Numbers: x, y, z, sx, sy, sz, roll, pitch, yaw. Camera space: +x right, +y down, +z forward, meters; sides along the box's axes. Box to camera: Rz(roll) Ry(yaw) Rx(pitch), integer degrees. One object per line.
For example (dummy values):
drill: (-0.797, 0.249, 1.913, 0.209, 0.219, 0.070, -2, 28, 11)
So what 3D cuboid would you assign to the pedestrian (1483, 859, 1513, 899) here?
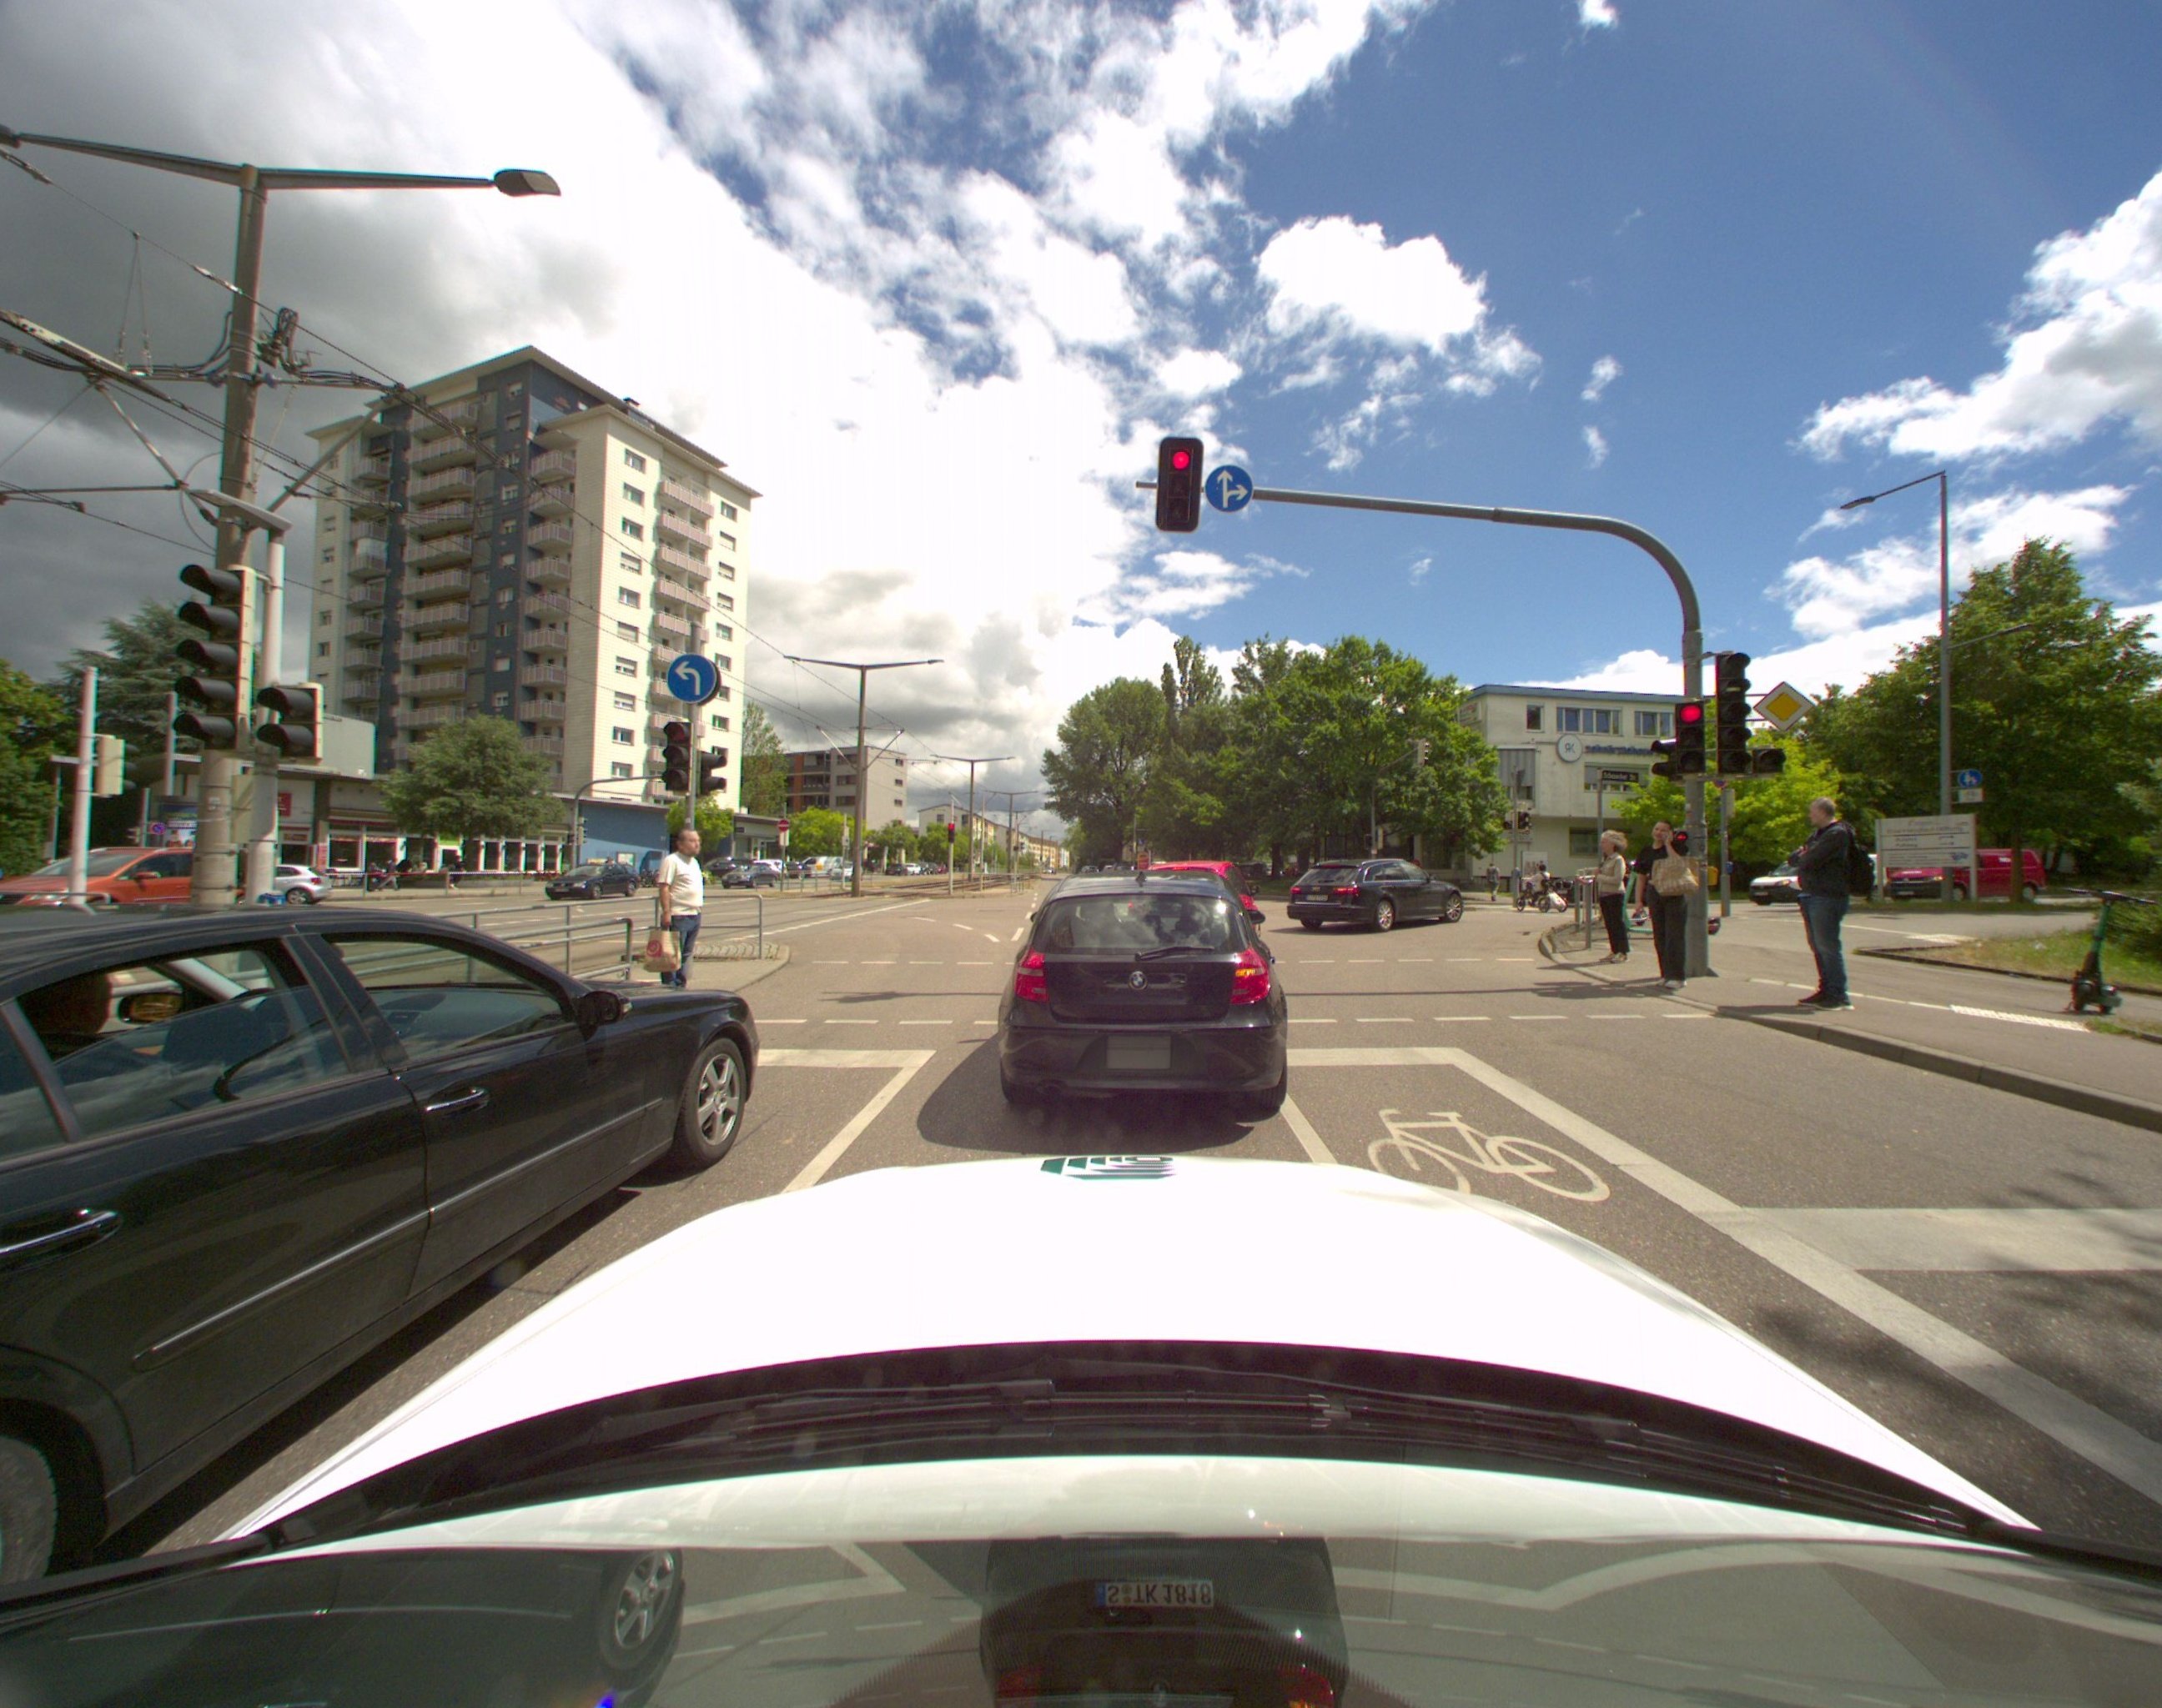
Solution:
pedestrian: (17.726, 1.058, 34.649, 0.901, 1.643, 0.771, 0, 0, 0)

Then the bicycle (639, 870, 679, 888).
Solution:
bicycle: (-23.211, 1.382, 44.800, 1.943, 0.935, 0.494, 0, -1, -5)

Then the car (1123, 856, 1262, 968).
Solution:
car: (1.799, 0.758, 12.338, 1.529, 1.441, 3.211, 0, 0, 18)

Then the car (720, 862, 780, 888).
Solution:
car: (-18.910, 1.200, 46.789, 1.630, 1.399, 4.492, 0, -1, -1)

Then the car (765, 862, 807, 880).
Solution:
car: (-24.497, 1.358, 67.634, 1.800, 1.420, 4.166, 0, 0, -43)

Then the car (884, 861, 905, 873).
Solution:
car: (-21.553, 1.486, 94.181, 1.758, 1.395, 3.993, 0, 0, -5)

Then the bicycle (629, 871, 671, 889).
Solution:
bicycle: (-23.149, 1.373, 43.771, 1.943, 0.935, 0.494, 0, -1, -5)

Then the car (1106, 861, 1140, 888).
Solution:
car: (2.778, 1.349, 54.293, 2.144, 1.684, 4.001, 0, -1, 2)

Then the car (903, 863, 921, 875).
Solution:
car: (-21.082, 1.845, 101.702, 1.758, 1.395, 3.993, 0, 0, -5)

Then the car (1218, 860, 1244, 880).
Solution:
car: (14.069, 1.504, 76.610, 1.626, 1.811, 4.030, 0, 0, -1)

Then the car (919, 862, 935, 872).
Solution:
car: (-21.294, 1.752, 112.861, 1.758, 1.395, 3.993, 0, 0, -5)

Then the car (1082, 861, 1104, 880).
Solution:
car: (1.193, 1.559, 77.233, 1.986, 1.684, 4.002, 0, 0, 2)

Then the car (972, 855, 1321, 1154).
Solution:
car: (0.395, 0.753, 6.078, 1.746, 1.487, 4.002, 0, 0, 2)

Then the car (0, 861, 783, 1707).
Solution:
car: (-2.689, 0.766, 2.503, 1.721, 1.461, 4.546, 0, 0, 2)

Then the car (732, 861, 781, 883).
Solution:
car: (-24.443, 1.354, 61.233, 4.165, 1.570, 1.973, 0, 0, 45)

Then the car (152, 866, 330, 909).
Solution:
car: (-28.625, 1.108, 27.955, 4.018, 1.398, 1.679, 1, -2, -37)

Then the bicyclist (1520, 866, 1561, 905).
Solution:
bicyclist: (12.498, 0.844, 22.168, 0.789, 1.022, 0.636, 0, -1, 1)

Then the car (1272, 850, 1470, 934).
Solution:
car: (6.295, 0.725, 17.440, 4.544, 1.554, 1.976, 0, -1, -40)

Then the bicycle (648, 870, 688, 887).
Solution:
bicycle: (-23.218, 1.391, 45.823, 1.943, 0.935, 0.494, 0, -1, -5)

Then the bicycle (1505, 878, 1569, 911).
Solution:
bicycle: (12.503, 1.096, 22.400, 0.788, 0.819, 1.808, 0, 0, 1)

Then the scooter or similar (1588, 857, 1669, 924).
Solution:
scooter or similar: (9.887, 0.659, 14.697, 1.360, 1.156, 0.540, 1, 0, -23)

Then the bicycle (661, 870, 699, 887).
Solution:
bicycle: (-23.103, 1.400, 46.925, 1.943, 0.935, 0.494, 0, -1, -5)

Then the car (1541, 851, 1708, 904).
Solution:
car: (18.623, 0.774, 28.037, 4.551, 1.717, 1.996, 0, 0, -5)

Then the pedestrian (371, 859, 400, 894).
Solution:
pedestrian: (-32.699, 1.046, 38.304, 0.766, 1.615, 0.697, 0, -1, -6)

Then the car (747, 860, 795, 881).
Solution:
car: (-24.591, 1.282, 64.523, 4.165, 1.538, 1.973, 0, 0, 45)

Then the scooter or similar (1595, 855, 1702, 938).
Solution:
scooter or similar: (8.978, 0.656, 12.912, 1.336, 1.277, 0.463, 0, 1, 8)

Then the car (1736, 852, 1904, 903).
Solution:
car: (26.289, 0.806, 29.043, 4.555, 1.717, 1.995, 0, 0, -8)

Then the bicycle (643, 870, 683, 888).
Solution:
bicycle: (-23.233, 1.386, 45.276, 1.943, 0.935, 0.494, 0, -1, -5)

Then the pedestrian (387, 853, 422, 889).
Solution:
pedestrian: (-36.781, 0.911, 44.318, 0.861, 1.917, 1.215, 0, 0, 2)

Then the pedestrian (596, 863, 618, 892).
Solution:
pedestrian: (-28.002, 1.366, 48.140, 0.948, 1.659, 1.091, 0, -1, -22)

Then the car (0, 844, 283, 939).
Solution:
car: (-19.263, 0.685, 16.427, 1.989, 1.635, 4.456, -2, 0, -3)

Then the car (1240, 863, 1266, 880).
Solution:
car: (16.303, 1.633, 77.329, 1.626, 1.573, 4.030, 0, 0, -1)

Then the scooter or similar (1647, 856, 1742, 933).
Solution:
scooter or similar: (10.367, 0.678, 13.783, 1.225, 1.240, 0.555, 2, 0, -7)

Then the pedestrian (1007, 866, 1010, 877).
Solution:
pedestrian: (-11.596, 2.824, 130.709, 0.477, 1.637, 0.454, 0, -1, 1)

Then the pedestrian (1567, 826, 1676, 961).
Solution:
pedestrian: (7.067, 0.503, 10.696, 0.945, 1.674, 0.874, -1, -1, 17)

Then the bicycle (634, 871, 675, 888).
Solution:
bicycle: (-23.188, 1.378, 44.294, 1.943, 0.935, 0.494, 0, -1, -5)

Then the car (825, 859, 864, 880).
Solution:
car: (-18.972, 1.222, 65.462, 1.929, 1.693, 3.874, 0, 0, 2)

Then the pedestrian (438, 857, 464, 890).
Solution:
pedestrian: (-31.310, 0.964, 40.463, 0.767, 1.615, 0.695, 0, -1, -12)

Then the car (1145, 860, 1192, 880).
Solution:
car: (8.138, 1.502, 75.683, 4.001, 1.823, 1.766, 0, 0, -21)

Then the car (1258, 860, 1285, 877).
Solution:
car: (18.345, 1.423, 78.673, 1.626, 1.595, 3.998, 0, 0, -1)

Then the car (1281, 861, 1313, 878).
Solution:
car: (20.953, 1.516, 79.020, 1.728, 1.595, 3.992, 0, 0, -5)

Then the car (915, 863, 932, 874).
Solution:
car: (-20.958, 1.887, 108.282, 1.758, 1.395, 3.993, 0, 0, -5)

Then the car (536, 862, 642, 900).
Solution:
car: (-19.463, 1.052, 32.456, 1.624, 1.414, 4.252, -1, -1, 0)

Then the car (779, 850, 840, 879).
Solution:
car: (-24.324, 0.915, 72.725, 2.848, 2.478, 6.642, 0, 0, -41)

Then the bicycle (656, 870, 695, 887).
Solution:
bicycle: (-23.098, 1.395, 46.412, 1.943, 0.935, 0.494, 0, -1, -5)

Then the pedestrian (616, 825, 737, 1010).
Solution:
pedestrian: (-4.116, 0.616, 8.342, 0.866, 1.808, 0.741, 0, 0, -2)

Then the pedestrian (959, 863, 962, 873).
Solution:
pedestrian: (-20.729, 2.384, 140.172, 0.451, 1.637, 0.480, 0, -1, -1)

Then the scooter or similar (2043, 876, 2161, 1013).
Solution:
scooter or similar: (10.625, 0.926, 8.470, 1.247, 1.275, 0.709, 6, -1, -38)

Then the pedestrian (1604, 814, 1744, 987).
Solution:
pedestrian: (6.391, 0.473, 8.813, 0.933, 1.765, 0.770, -1, 0, -10)

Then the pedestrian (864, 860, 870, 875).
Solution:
pedestrian: (-24.559, 1.507, 93.456, 0.547, 1.716, 0.404, 0, -1, -8)

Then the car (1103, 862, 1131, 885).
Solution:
car: (2.712, 1.443, 61.748, 1.986, 1.684, 4.001, 0, -1, 2)

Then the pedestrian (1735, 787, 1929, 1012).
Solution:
pedestrian: (6.874, 0.395, 7.507, 0.963, 1.942, 0.896, 0, 0, -3)

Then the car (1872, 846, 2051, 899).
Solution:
car: (31.919, 0.670, 29.605, 4.800, 1.864, 1.995, 0, -2, -8)
